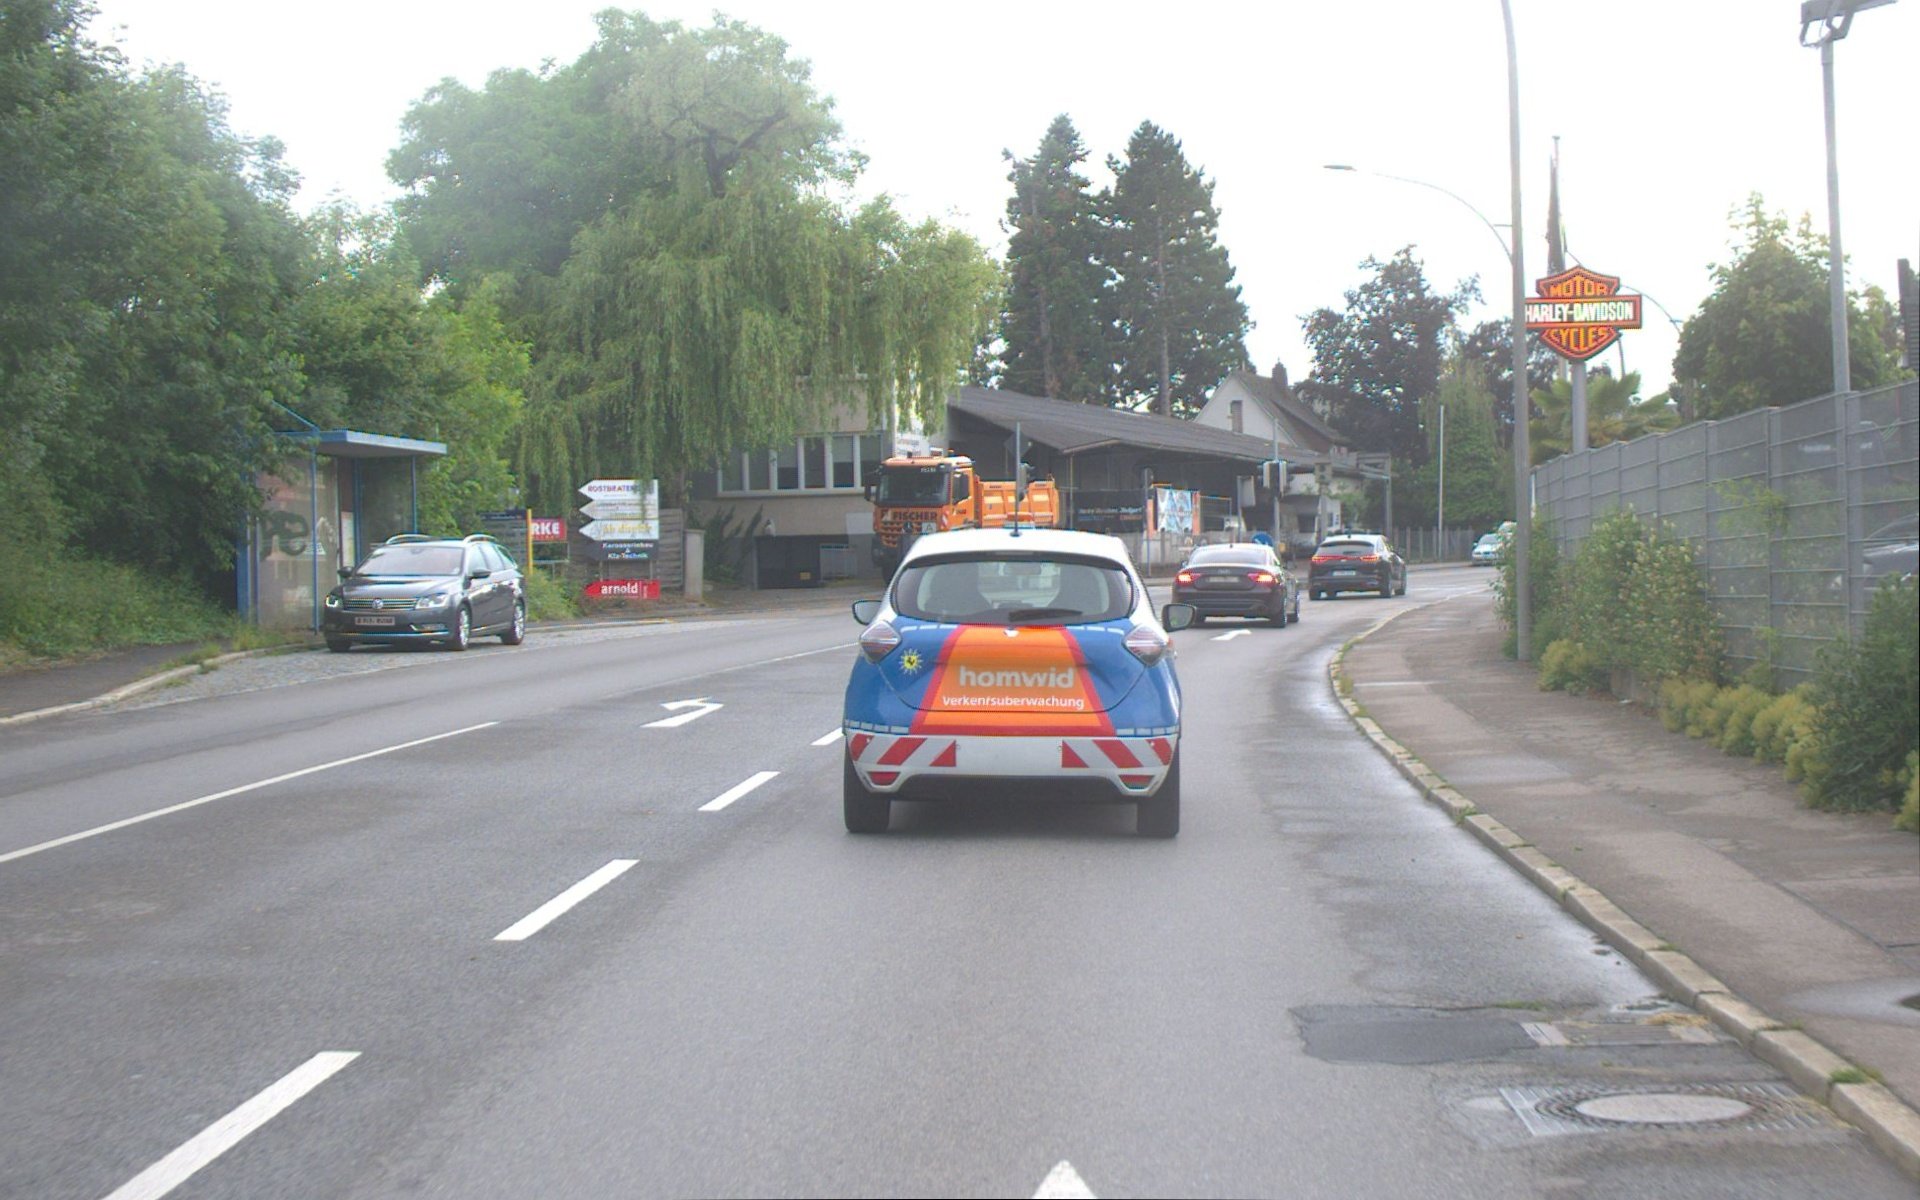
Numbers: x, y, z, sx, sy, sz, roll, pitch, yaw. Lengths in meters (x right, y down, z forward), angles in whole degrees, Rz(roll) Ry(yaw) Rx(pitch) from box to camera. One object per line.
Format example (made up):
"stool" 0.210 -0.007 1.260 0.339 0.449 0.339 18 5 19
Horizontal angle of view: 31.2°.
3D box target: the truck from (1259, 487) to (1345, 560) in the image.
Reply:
"truck" 14.590 -3.230 146.490 2.396 2.917 5.952 2 1 18

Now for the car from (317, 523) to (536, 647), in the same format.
"car" -6.929 -0.174 45.112 1.993 1.469 4.700 2 0 1

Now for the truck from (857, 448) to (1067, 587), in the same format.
"truck" 0.169 -2.190 94.469 2.700 3.400 9.062 2 0 20

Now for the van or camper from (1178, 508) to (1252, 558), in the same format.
"van or camper" 10.017 -2.613 134.732 1.995 1.902 4.469 2 1 16

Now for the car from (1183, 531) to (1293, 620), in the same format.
"car" 4.589 -0.379 57.134 1.721 1.371 3.933 2 0 4

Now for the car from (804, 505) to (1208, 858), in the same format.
"car" 0.321 0.356 18.587 1.889 1.626 4.000 2 1 3

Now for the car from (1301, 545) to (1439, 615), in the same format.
"car" 9.062 -0.424 75.742 1.996 1.415 3.995 2 0 22

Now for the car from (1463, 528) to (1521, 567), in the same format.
"car" 22.799 -2.250 147.288 1.995 1.639 3.997 0 1 16

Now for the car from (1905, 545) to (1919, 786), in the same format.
"car" 9.088 0.542 24.676 4.141 1.766 1.616 2 0 3
